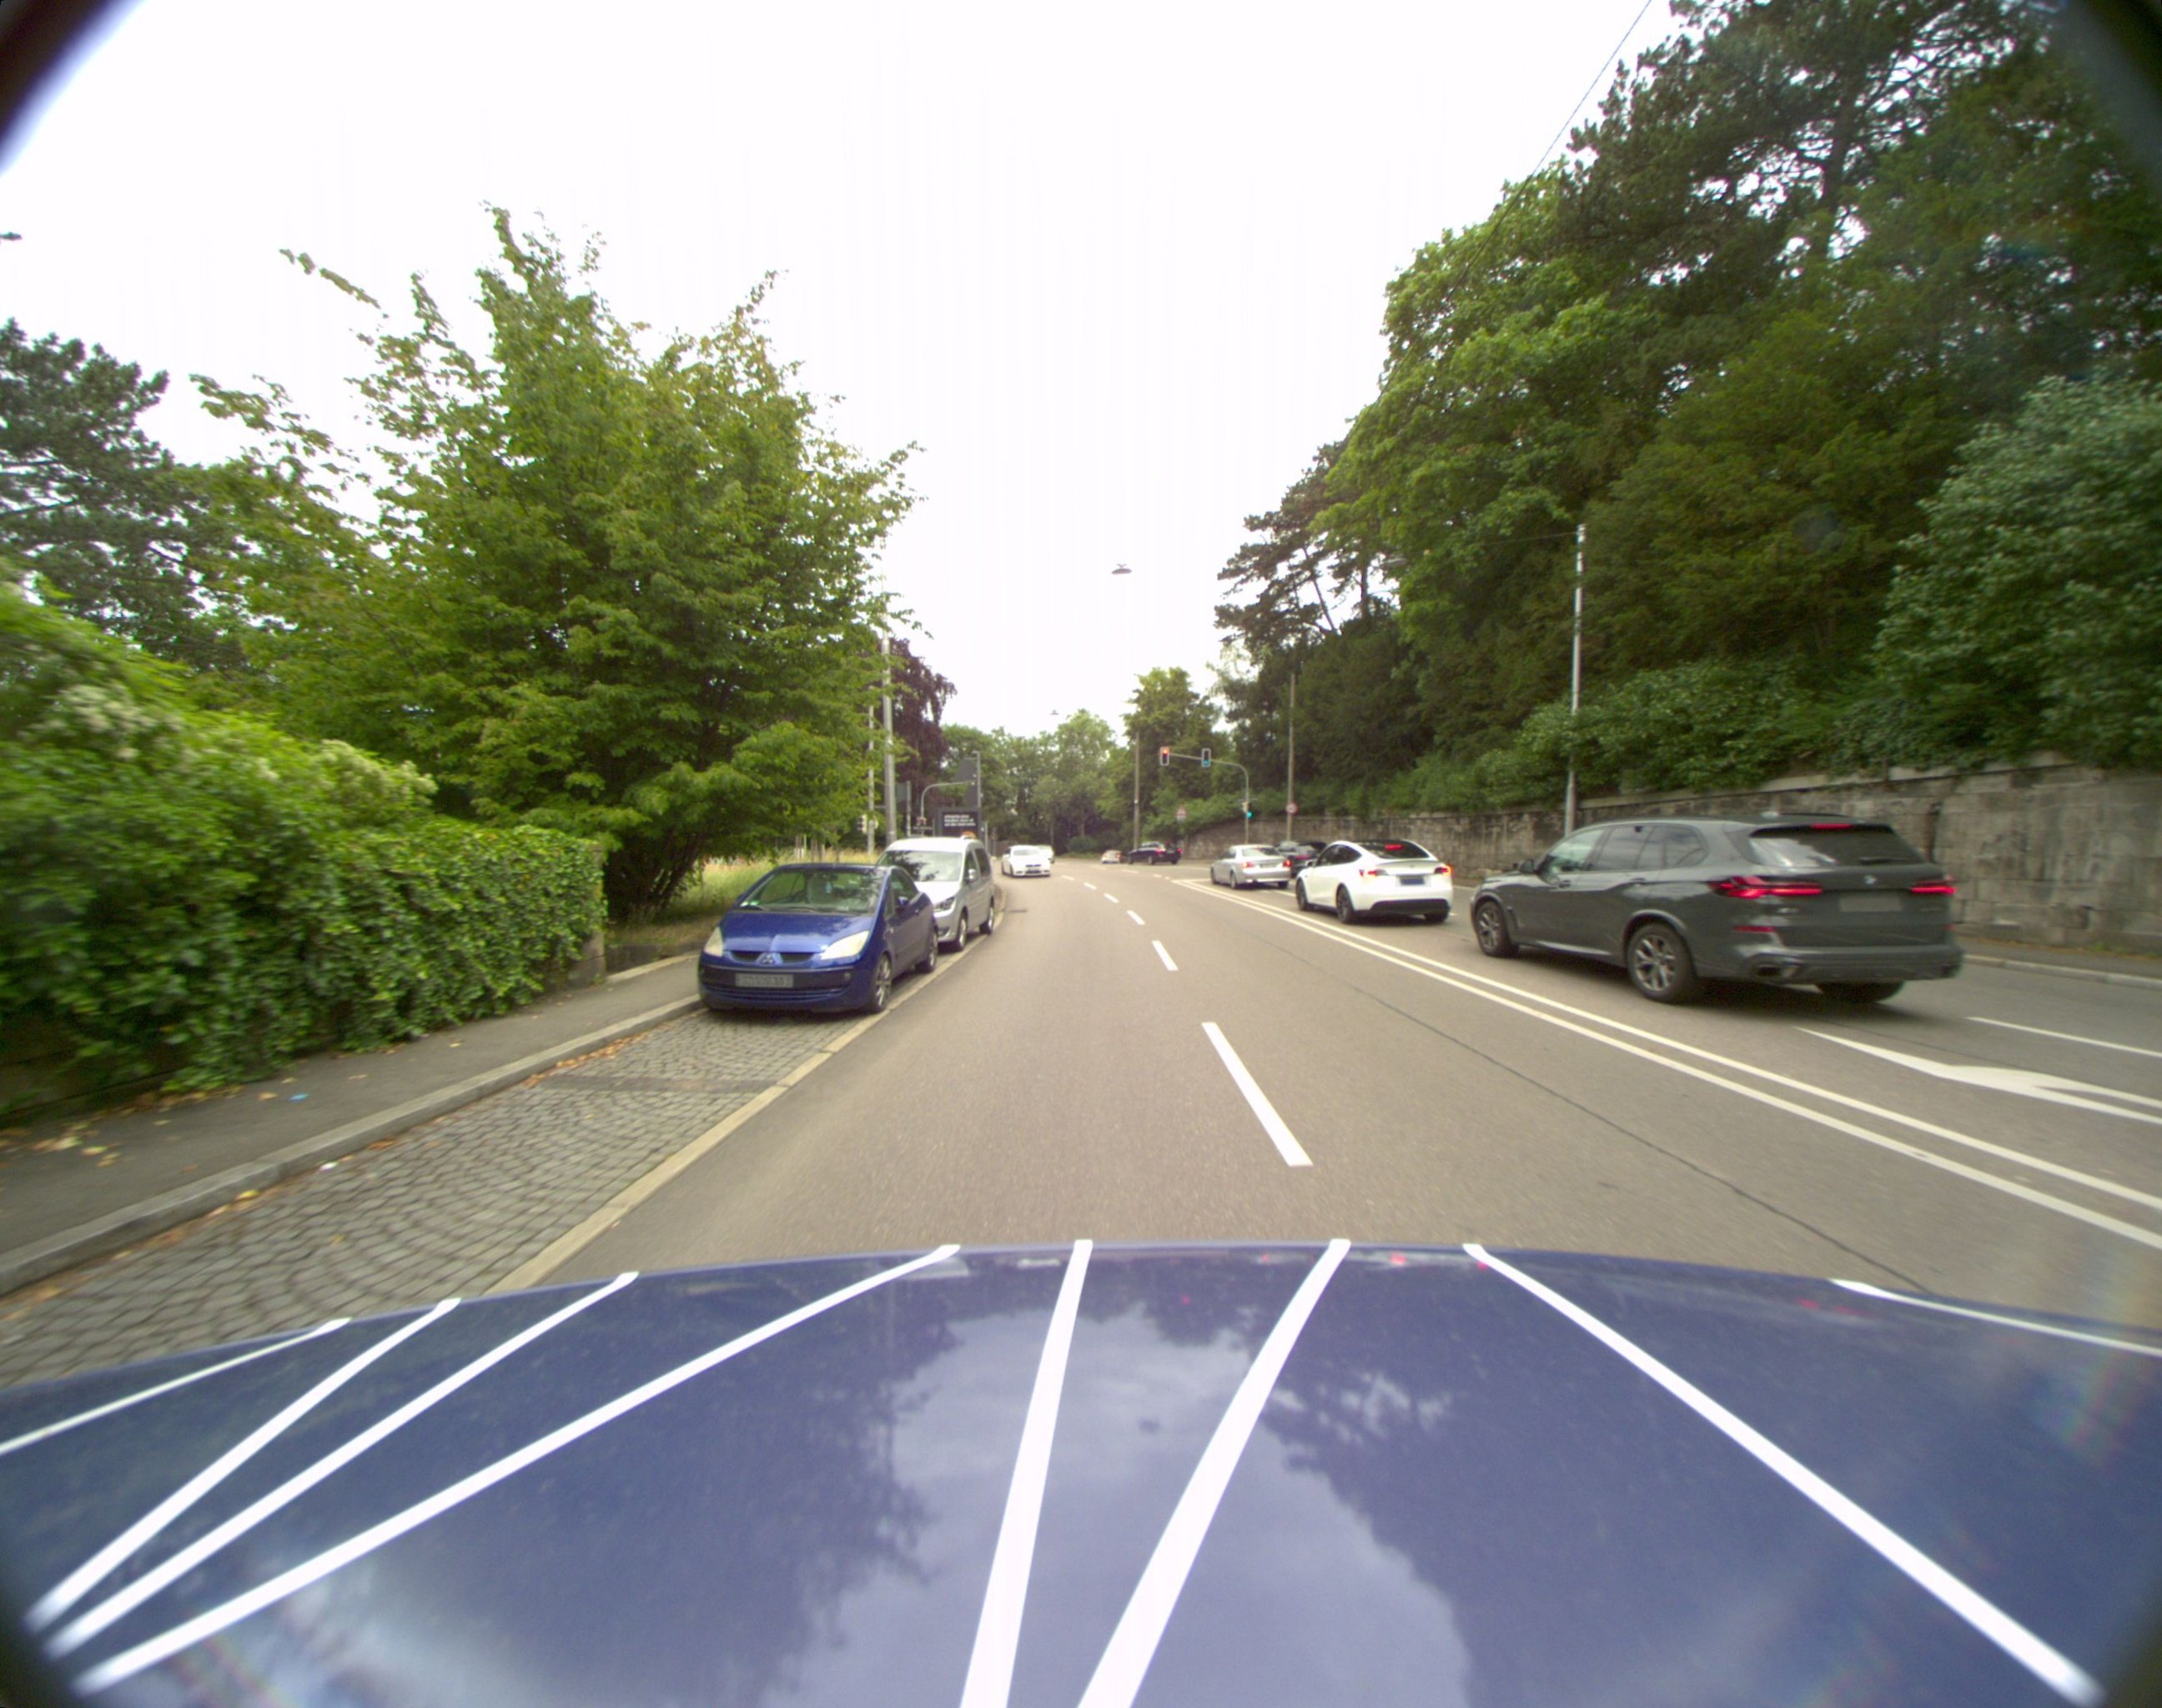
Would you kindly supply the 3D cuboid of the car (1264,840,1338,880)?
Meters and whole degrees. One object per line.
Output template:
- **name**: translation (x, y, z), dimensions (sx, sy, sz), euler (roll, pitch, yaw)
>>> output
- **car**: translation (8.713, 0.205, 30.399), dimensions (1.635, 1.426, 3.957), euler (-2, 1, -3)

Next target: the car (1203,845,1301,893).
- **car**: translation (5.810, 0.444, 26.436), dimensions (1.999, 1.461, 4.875), euler (-1, 1, -4)

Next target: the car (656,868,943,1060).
- **car**: translation (-2.688, 0.949, 8.261), dimensions (1.601, 1.451, 3.941), euler (1, 1, 1)

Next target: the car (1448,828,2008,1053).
- **car**: translation (6.187, 0.639, 8.327), dimensions (1.965, 1.740, 4.877), euler (0, 1, 0)

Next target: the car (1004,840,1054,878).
- **car**: translation (-2.628, 0.177, 37.303), dimensions (1.824, 1.464, 4.776), euler (-2, 4, -11)

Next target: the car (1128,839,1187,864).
- **car**: translation (4.635, -0.152, 46.725), dimensions (1.740, 1.444, 4.042), euler (-3, 1, -25)

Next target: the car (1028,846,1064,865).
- **car**: translation (-2.688, 0.158, 58.813), dimensions (1.968, 1.306, 3.854), euler (-1, -2, 10)

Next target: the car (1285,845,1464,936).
- **car**: translation (5.824, 0.618, 15.790), dimensions (1.842, 1.545, 4.787), euler (-1, 1, 0)

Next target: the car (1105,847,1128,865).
- **car**: translation (3.264, 0.164, 69.079), dimensions (1.638, 1.548, 4.115), euler (-2, 1, 9)

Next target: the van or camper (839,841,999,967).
- **van or camper**: translation (-2.602, 0.704, 13.256), dimensions (1.703, 1.834, 4.242), euler (-1, 1, 2)
